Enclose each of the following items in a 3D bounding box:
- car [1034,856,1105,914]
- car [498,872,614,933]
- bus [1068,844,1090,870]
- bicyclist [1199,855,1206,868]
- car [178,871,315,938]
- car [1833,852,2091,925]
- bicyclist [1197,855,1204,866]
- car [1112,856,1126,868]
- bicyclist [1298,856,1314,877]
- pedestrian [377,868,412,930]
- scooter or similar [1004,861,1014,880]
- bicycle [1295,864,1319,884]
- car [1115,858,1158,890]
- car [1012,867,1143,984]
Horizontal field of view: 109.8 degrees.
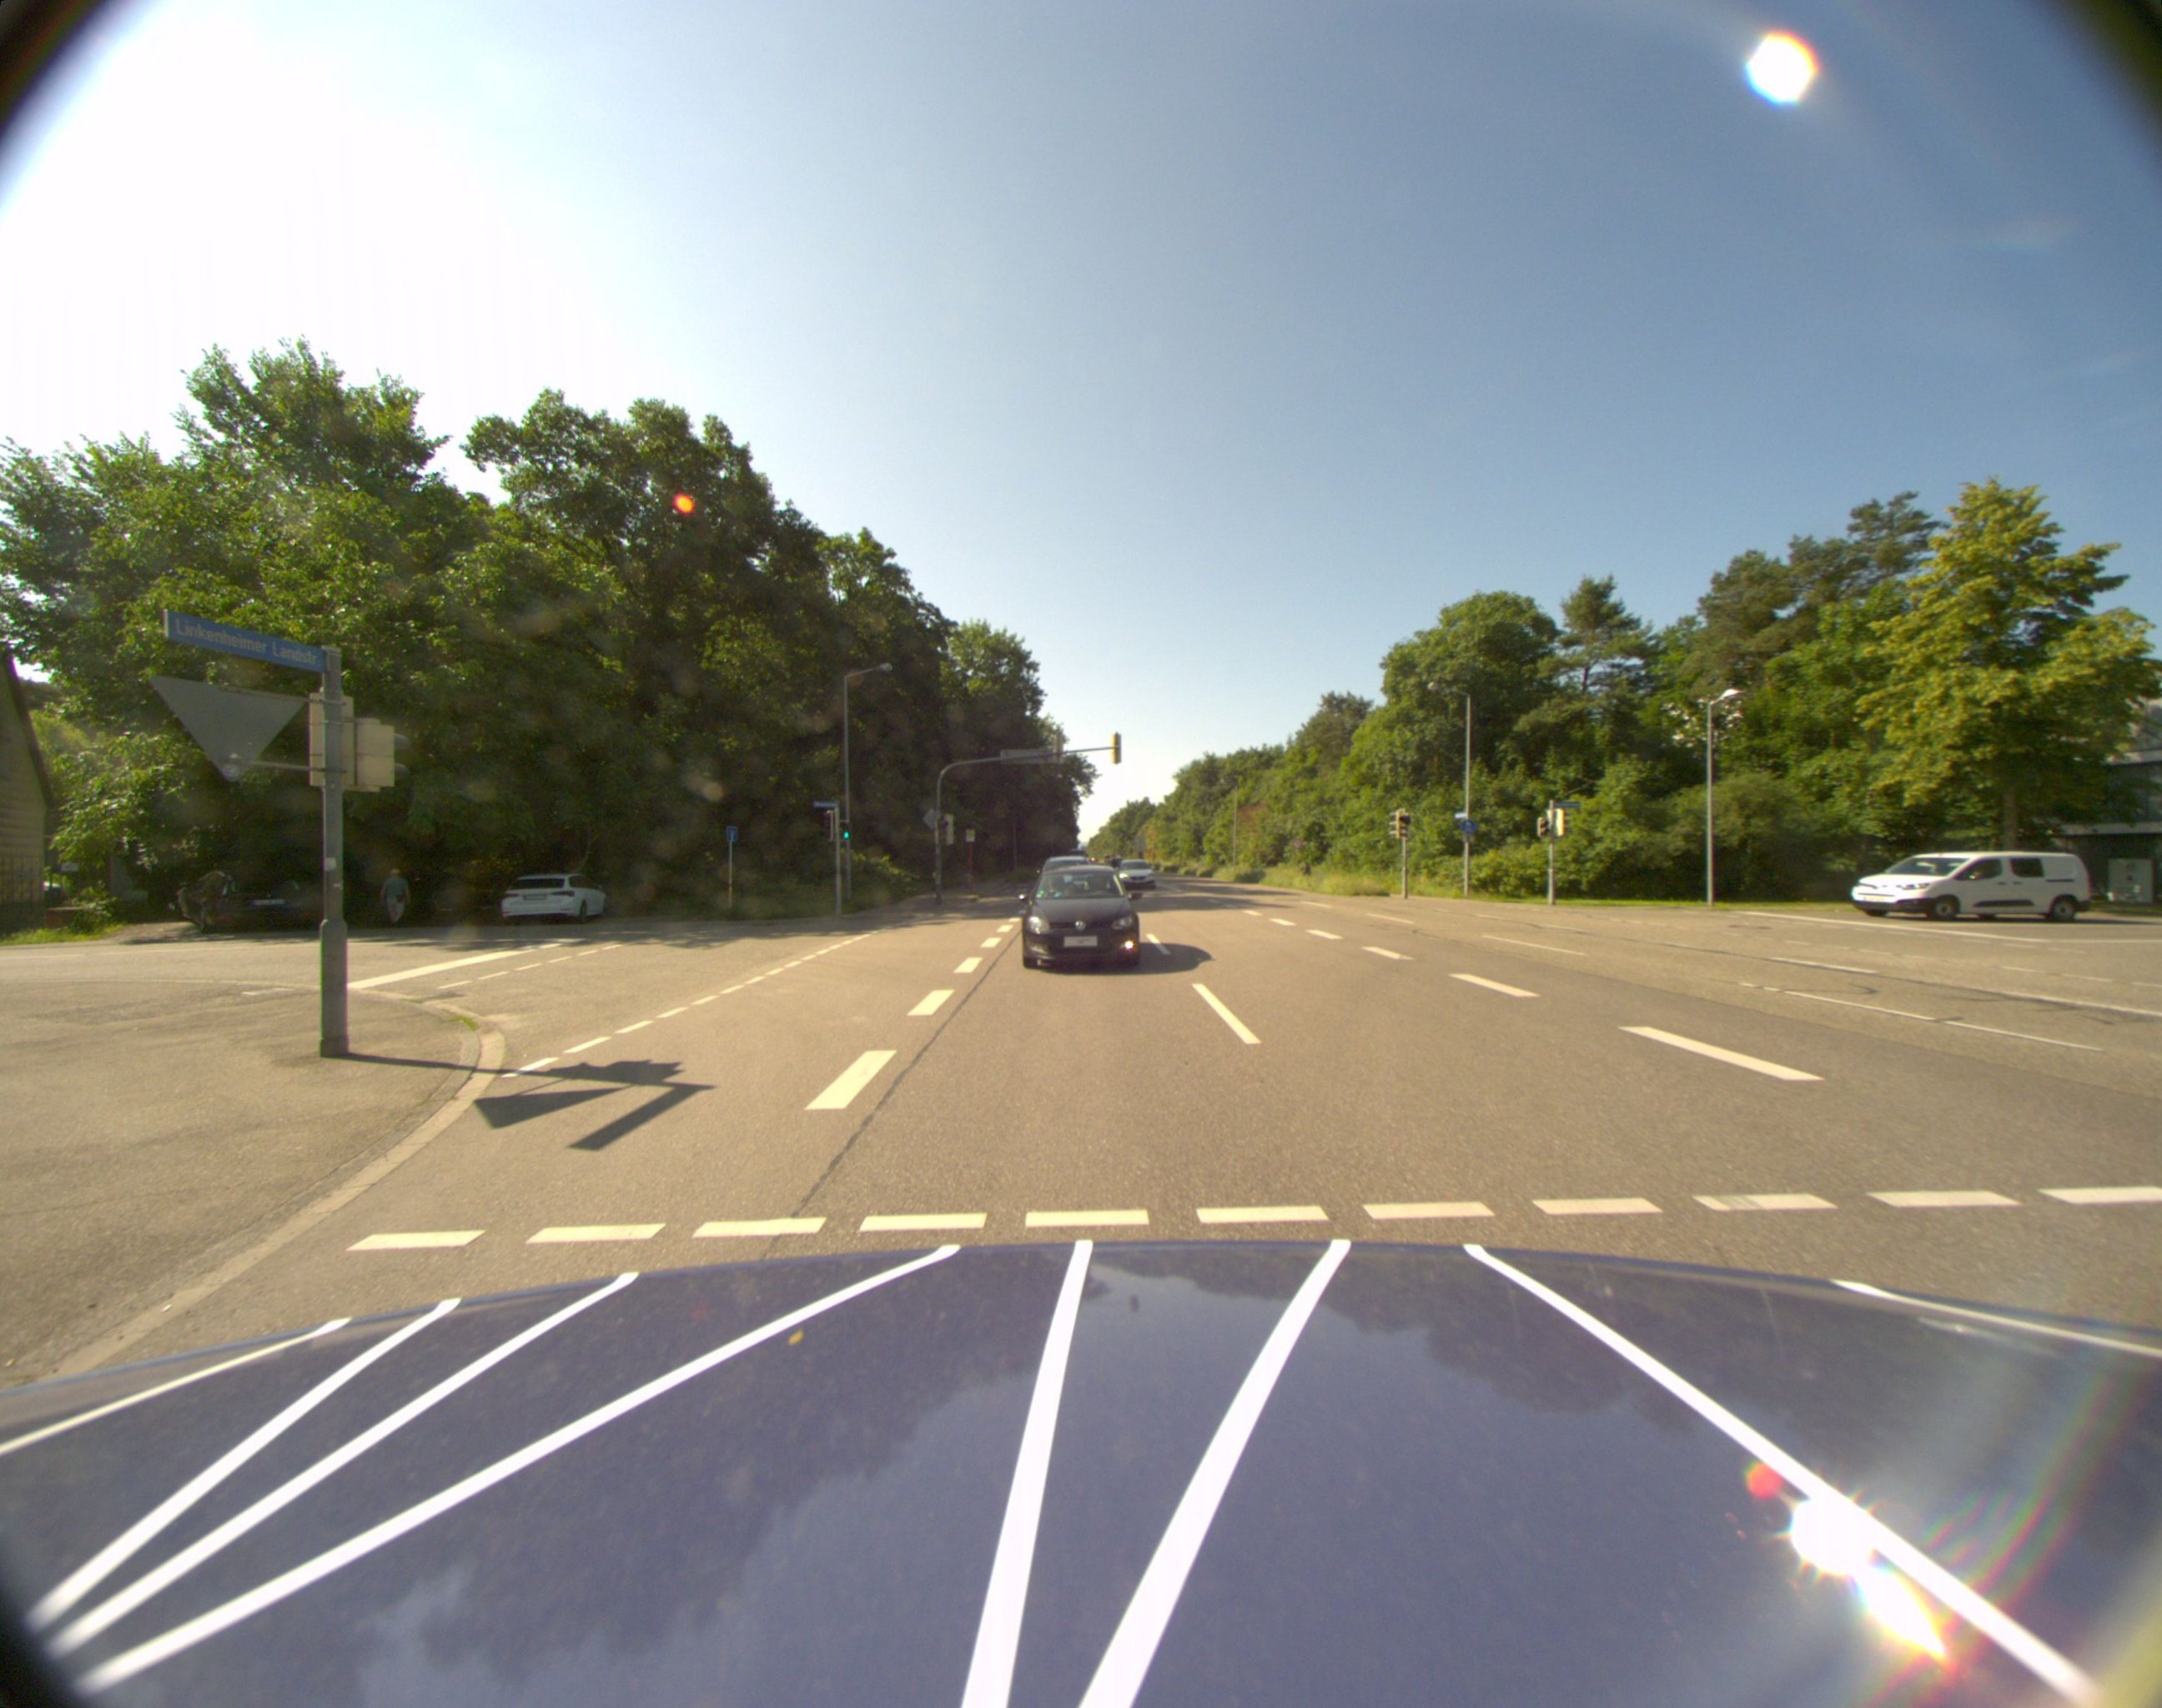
[{"bbox_3d":[-0.275,0.926,24.699,1.812,1.639,4.309,-2,0,5],"label":"car"},{"bbox_3d":[-14.972,1.311,21.945,1.630,1.455,4.607,0,0,-20],"label":"car"},{"bbox_3d":[-0.323,0.324,107.112,2.782,3.437,7.792,-2,1,-1],"label":"bus"},{"bbox_3d":[13.899,0.824,87.000,0.612,1.458,0.944,-2,1,2],"label":"bicyclist"},{"bbox_3d":[-20.873,1.182,18.972,3.780,1.455,1.632,0,0,32],"label":"car"},{"bbox_3d":[23.277,0.879,20.204,4.658,1.767,1.852,1,1,0],"label":"car"},{"bbox_3d":[14.382,0.810,91.552,0.702,1.256,0.727,-2,1,1],"label":"bicyclist"},{"bbox_3d":[5.469,1.163,108.997,1.795,1.687,4.391,1,1,0],"label":"car"},{"bbox_3d":[13.941,0.782,47.030,0.723,1.303,0.883,0,0,-3],"label":"bicyclist"},{"bbox_3d":[-18.397,1.197,20.372,0.611,1.620,0.414,0,1,-30],"label":"pedestrian"},{"bbox_3d":[-4.932,1.118,52.010,0.401,1.299,1.328,0,0,-15],"label":"scooter or similar"},{"bbox_3d":[13.985,1.214,47.050,0.734,1.156,2.372,0,0,-2],"label":"bicycle"},{"bbox_3d":[2.708,0.943,37.773,1.788,1.416,4.423,-2,0,0],"label":"car"},{"bbox_3d":[0.006,0.979,12.024,1.650,1.422,4.055,-3,0,1],"label":"car"}]
